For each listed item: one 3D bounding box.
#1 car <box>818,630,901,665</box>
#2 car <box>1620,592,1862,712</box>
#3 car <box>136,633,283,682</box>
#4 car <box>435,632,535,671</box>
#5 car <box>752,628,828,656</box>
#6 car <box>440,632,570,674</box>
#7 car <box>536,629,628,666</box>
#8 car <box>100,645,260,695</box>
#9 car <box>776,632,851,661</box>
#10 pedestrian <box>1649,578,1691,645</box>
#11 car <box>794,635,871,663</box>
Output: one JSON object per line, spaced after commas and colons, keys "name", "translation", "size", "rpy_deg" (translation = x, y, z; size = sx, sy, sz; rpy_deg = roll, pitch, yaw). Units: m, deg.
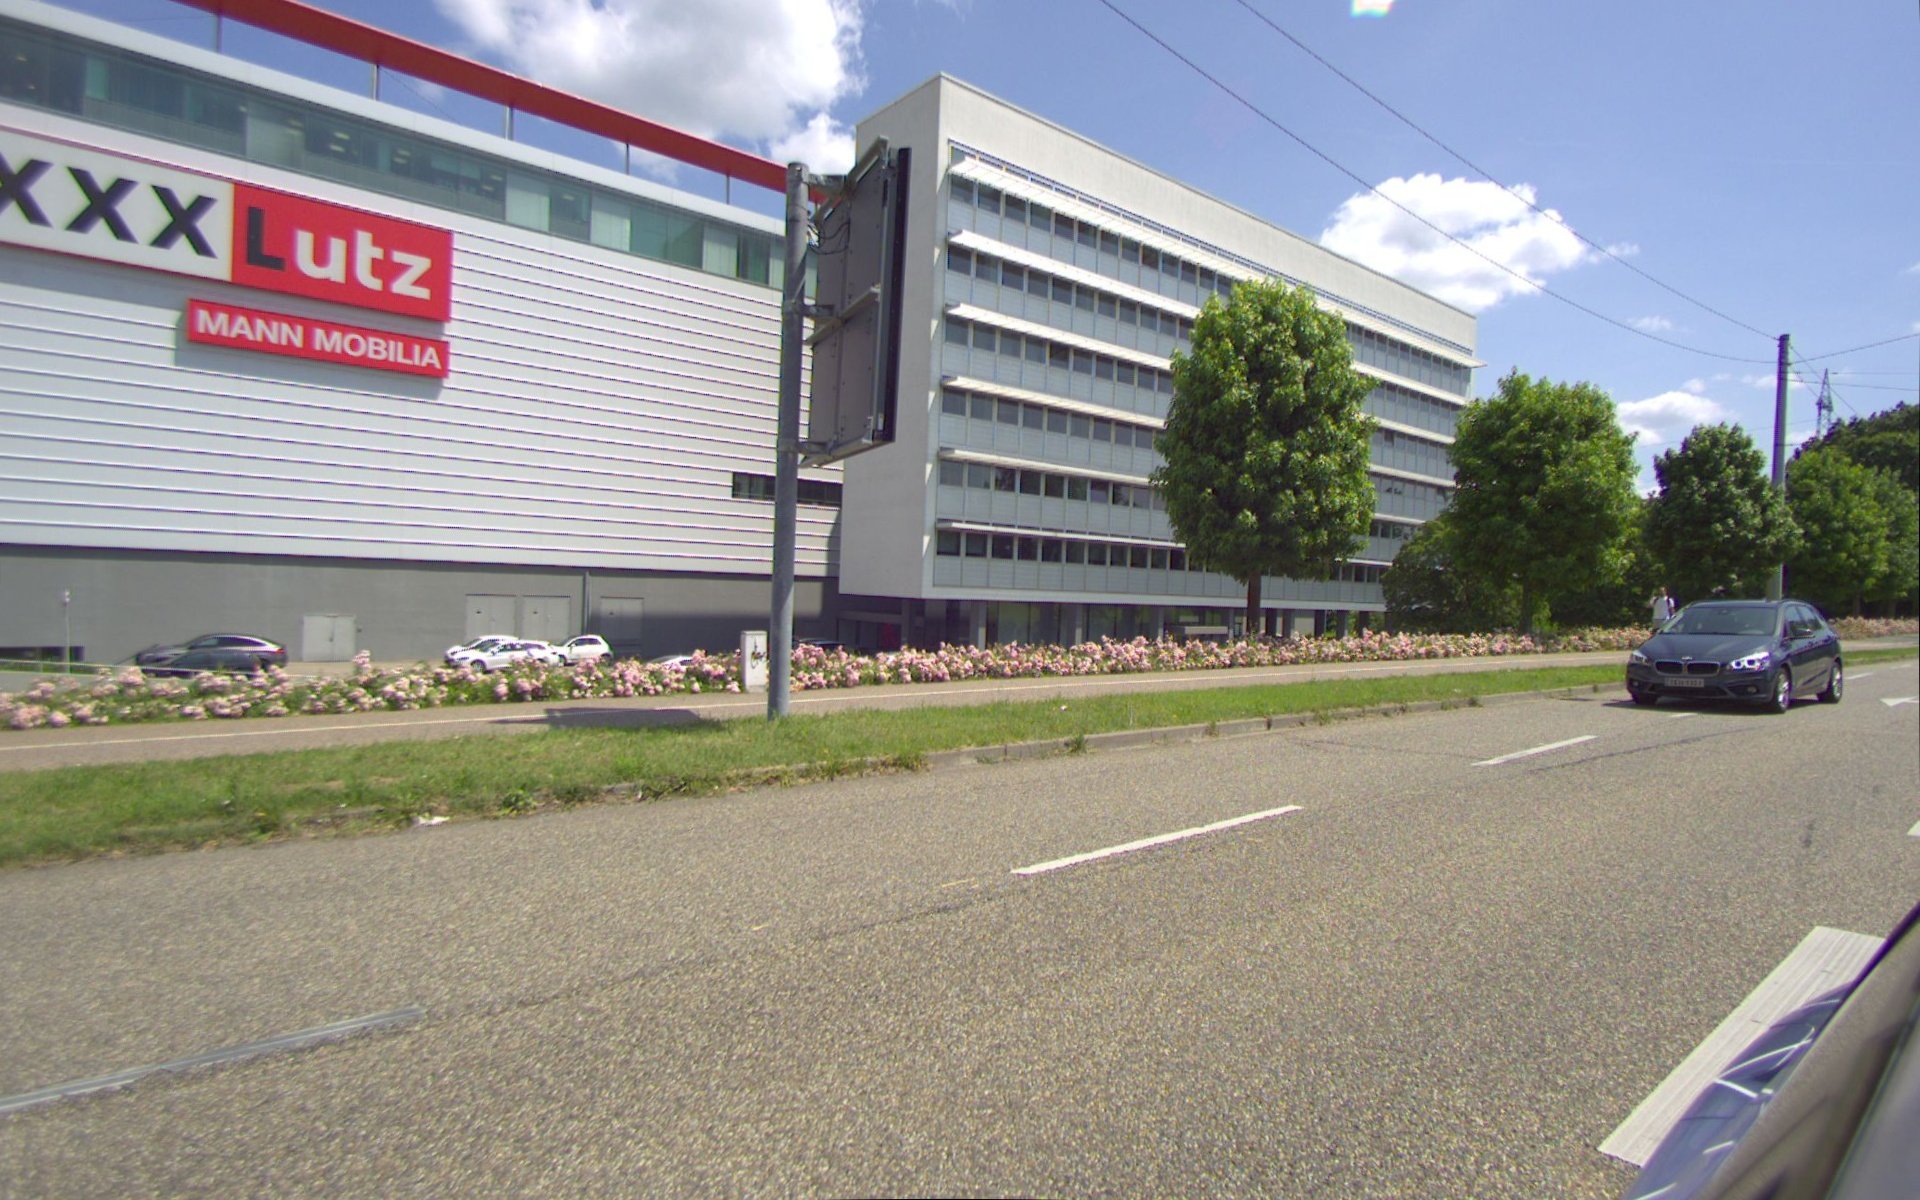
{"name": "car", "translation": [-5.279, 2.446, 53.243], "size": [3.930, 1.632, 1.997], "rpy_deg": [0, 0, -41]}
{"name": "car", "translation": [11.605, 0.680, 14.962], "size": [4.022, 1.546, 1.766], "rpy_deg": [0, 0, -36]}
{"name": "car", "translation": [-29.281, 2.197, 39.549], "size": [4.509, 1.632, 1.997], "rpy_deg": [0, 0, -41]}
{"name": "car", "translation": [-22.612, 2.415, 48.188], "size": [3.930, 1.632, 1.997], "rpy_deg": [0, 0, -41]}
{"name": "car", "translation": [-9.861, 2.413, 58.929], "size": [3.930, 1.465, 1.997], "rpy_deg": [0, 0, -41]}
{"name": "car", "translation": [-20.708, 2.354, 46.158], "size": [5.056, 1.632, 1.997], "rpy_deg": [0, 0, -41]}
{"name": "car", "translation": [-19.057, 2.371, 51.143], "size": [3.930, 1.632, 1.997], "rpy_deg": [0, 0, -41]}
{"name": "car", "translation": [-26.985, 2.365, 35.084], "size": [4.278, 1.416, 1.996], "rpy_deg": [0, 0, -42]}
{"name": "car", "translation": [-8.146, 2.556, 56.507], "size": [3.930, 1.403, 1.646], "rpy_deg": [0, 0, -41]}
{"name": "pedestrian", "translation": [20.236, 0.321, 28.844], "size": [0.913, 1.872, 0.758], "rpy_deg": [0, 0, -38]}
{"name": "car", "translation": [-6.866, 2.619, 54.749], "size": [3.930, 1.338, 1.607], "rpy_deg": [0, 0, -41]}
